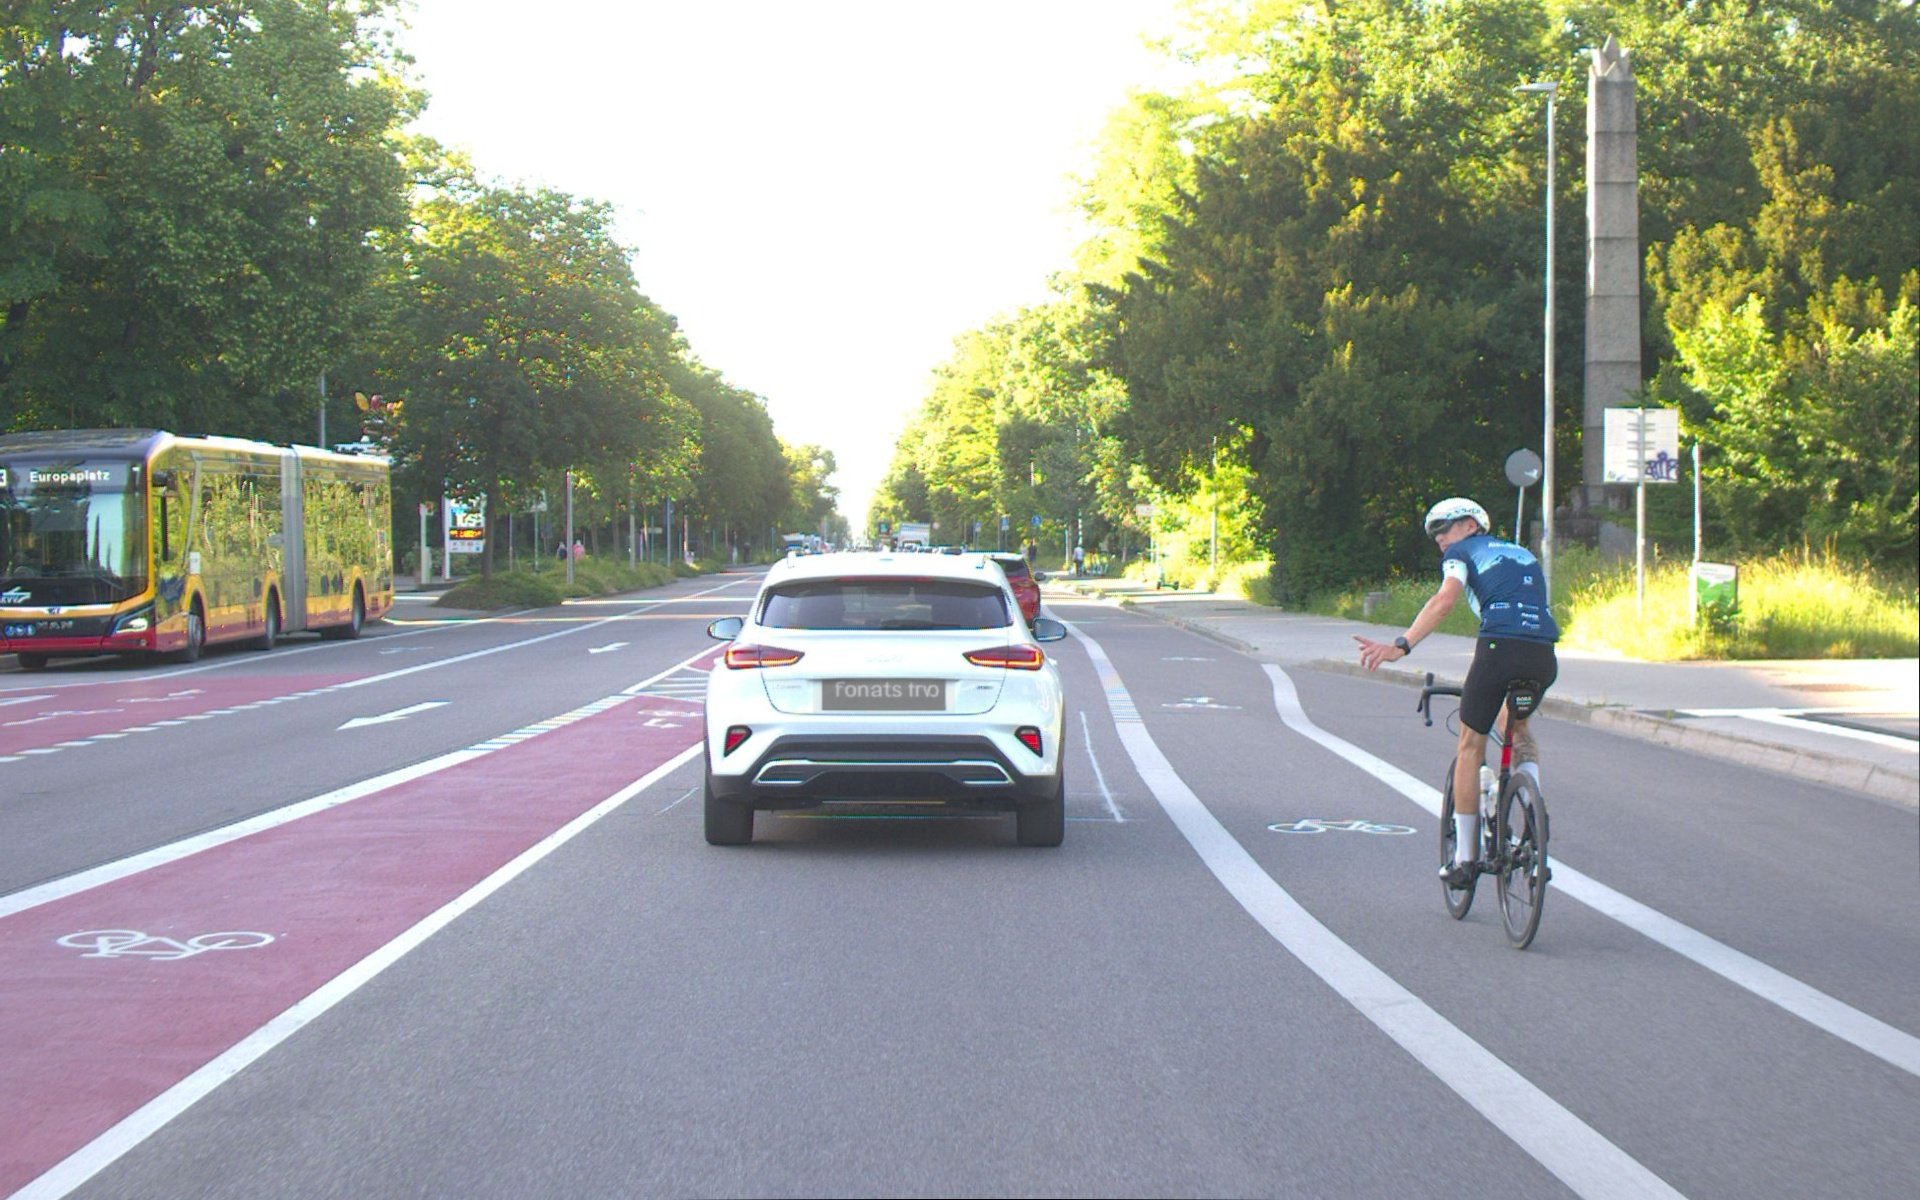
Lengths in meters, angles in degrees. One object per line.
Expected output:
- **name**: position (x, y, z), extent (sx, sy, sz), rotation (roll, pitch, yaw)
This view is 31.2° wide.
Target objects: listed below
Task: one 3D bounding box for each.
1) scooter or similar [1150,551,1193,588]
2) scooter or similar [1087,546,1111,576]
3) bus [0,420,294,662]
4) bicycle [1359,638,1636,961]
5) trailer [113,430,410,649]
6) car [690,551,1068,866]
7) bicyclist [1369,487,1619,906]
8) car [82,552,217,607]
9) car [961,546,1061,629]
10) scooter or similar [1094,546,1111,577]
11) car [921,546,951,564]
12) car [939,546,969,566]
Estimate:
- **scooter or similar**: position (7.138, -1.042, 115.839), extent (1.537, 1.245, 0.534), rotation (-1, 1, -44)
- **scooter or similar**: position (6.606, -1.871, 163.406), extent (0.682, 1.418, 1.682), rotation (0, 1, -15)
- **bus**: position (-11.934, -0.845, 49.644), extent (2.840, 3.186, 8.600), rotation (0, 1, 1)
- **bicycle**: position (2.085, 0.740, 13.624), extent (0.891, 1.092, 2.136), rotation (2, 1, 4)
- **trailer**: position (-11.722, -1.007, 58.656), extent (2.855, 3.344, 9.362), rotation (2, 1, 1)
- **car**: position (-0.535, 0.499, 18.427), extent (1.761, 1.454, 3.818), rotation (2, 1, -5)
- **bicyclist**: position (2.072, 0.356, 13.453), extent (0.860, 1.562, 0.881), rotation (2, 1, 4)
- **car**: position (-22.062, -0.568, 93.626), extent (1.560, 1.395, 3.485), rotation (-2, 0, 31)
- **car**: position (0.929, -0.240, 61.142), extent (1.676, 1.413, 3.573), rotation (0, 1, 2)
- **scooter or similar**: position (6.617, -1.801, 159.454), extent (0.682, 1.418, 1.682), rotation (0, 1, -1)
- **car**: position (-1.806, -3.363, 257.495), extent (1.993, 1.322, 4.001), rotation (0, 1, -5)
- **car**: position (-0.410, -3.104, 241.812), extent (1.993, 1.322, 4.000), rotation (0, 1, -2)
